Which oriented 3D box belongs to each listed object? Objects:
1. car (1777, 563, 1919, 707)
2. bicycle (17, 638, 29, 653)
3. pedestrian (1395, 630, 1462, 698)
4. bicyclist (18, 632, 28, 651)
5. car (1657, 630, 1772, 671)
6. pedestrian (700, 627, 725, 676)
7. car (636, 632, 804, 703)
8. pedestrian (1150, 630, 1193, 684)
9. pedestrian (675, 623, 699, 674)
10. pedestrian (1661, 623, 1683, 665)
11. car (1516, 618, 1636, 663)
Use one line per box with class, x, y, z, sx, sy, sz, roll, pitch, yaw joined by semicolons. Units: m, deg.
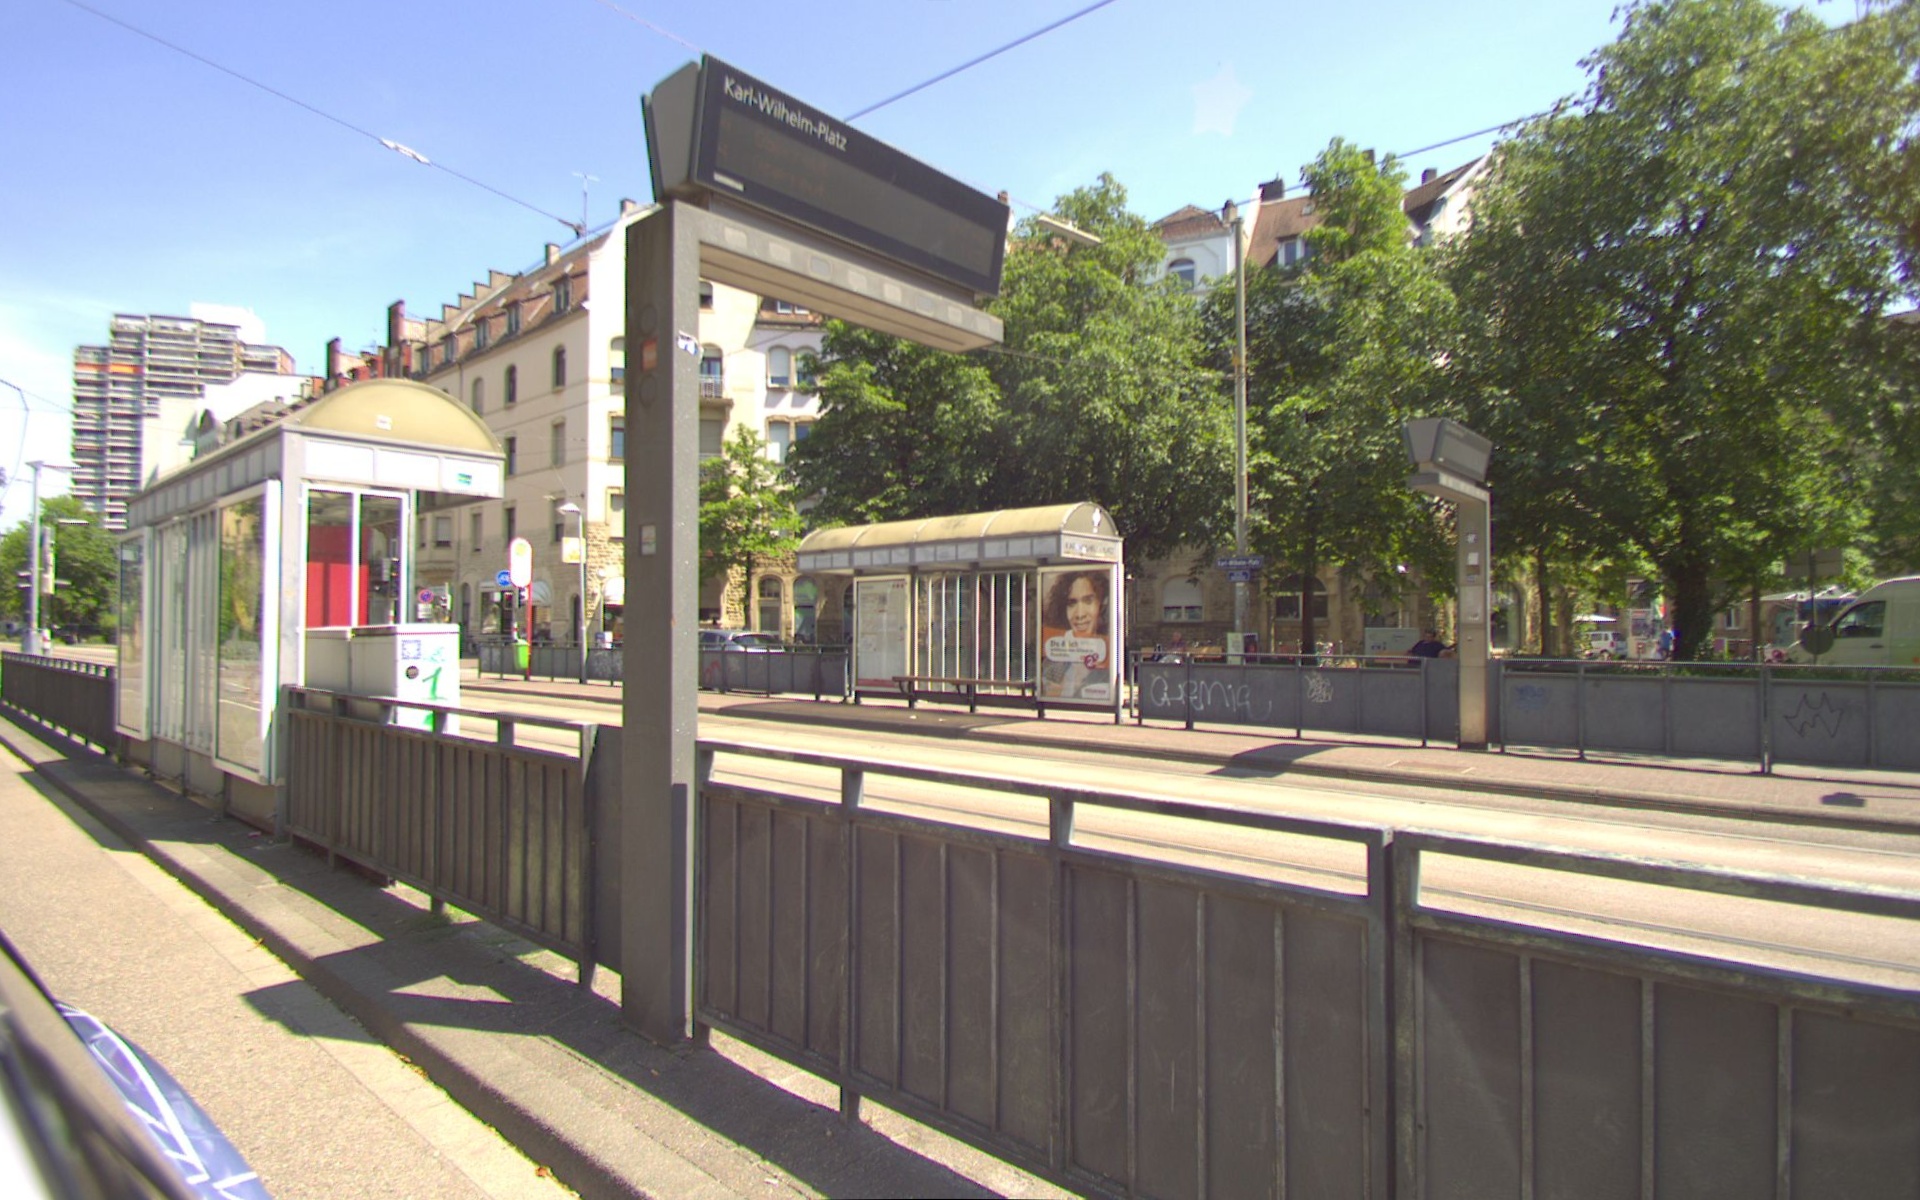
car;19.138;0.642;18.881;2.236;2.693;5.843;-1;0;-14
bicycle;-95.279;4.624;102.909;1.969;1.524;0.636;-1;0;39
pedestrian;9.281;1.242;20.035;0.852;1.253;0.939;-1;0;-43
bicyclist;-95.285;4.169;102.900;0.715;1.889;0.636;-1;0;39
car;35.783;2.352;48.100;1.736;1.721;3.998;-1;0;-33
pedestrian;-7.951;1.659;32.507;0.473;1.563;0.586;-2;-3;39
car;-5.600;1.492;23.355;3.998;1.404;1.789;-1;0;41
pedestrian;5.091;1.359;24.310;0.930;1.253;0.860;-1;0;17
pedestrian;-8.929;1.575;33.053;0.473;1.659;0.586;-2;-3;41
pedestrian;28.471;1.748;40.452;0.483;1.683;0.517;1;-2;-27
car;26.714;1.707;44.007;1.966;1.803;4.011;-1;0;-33
